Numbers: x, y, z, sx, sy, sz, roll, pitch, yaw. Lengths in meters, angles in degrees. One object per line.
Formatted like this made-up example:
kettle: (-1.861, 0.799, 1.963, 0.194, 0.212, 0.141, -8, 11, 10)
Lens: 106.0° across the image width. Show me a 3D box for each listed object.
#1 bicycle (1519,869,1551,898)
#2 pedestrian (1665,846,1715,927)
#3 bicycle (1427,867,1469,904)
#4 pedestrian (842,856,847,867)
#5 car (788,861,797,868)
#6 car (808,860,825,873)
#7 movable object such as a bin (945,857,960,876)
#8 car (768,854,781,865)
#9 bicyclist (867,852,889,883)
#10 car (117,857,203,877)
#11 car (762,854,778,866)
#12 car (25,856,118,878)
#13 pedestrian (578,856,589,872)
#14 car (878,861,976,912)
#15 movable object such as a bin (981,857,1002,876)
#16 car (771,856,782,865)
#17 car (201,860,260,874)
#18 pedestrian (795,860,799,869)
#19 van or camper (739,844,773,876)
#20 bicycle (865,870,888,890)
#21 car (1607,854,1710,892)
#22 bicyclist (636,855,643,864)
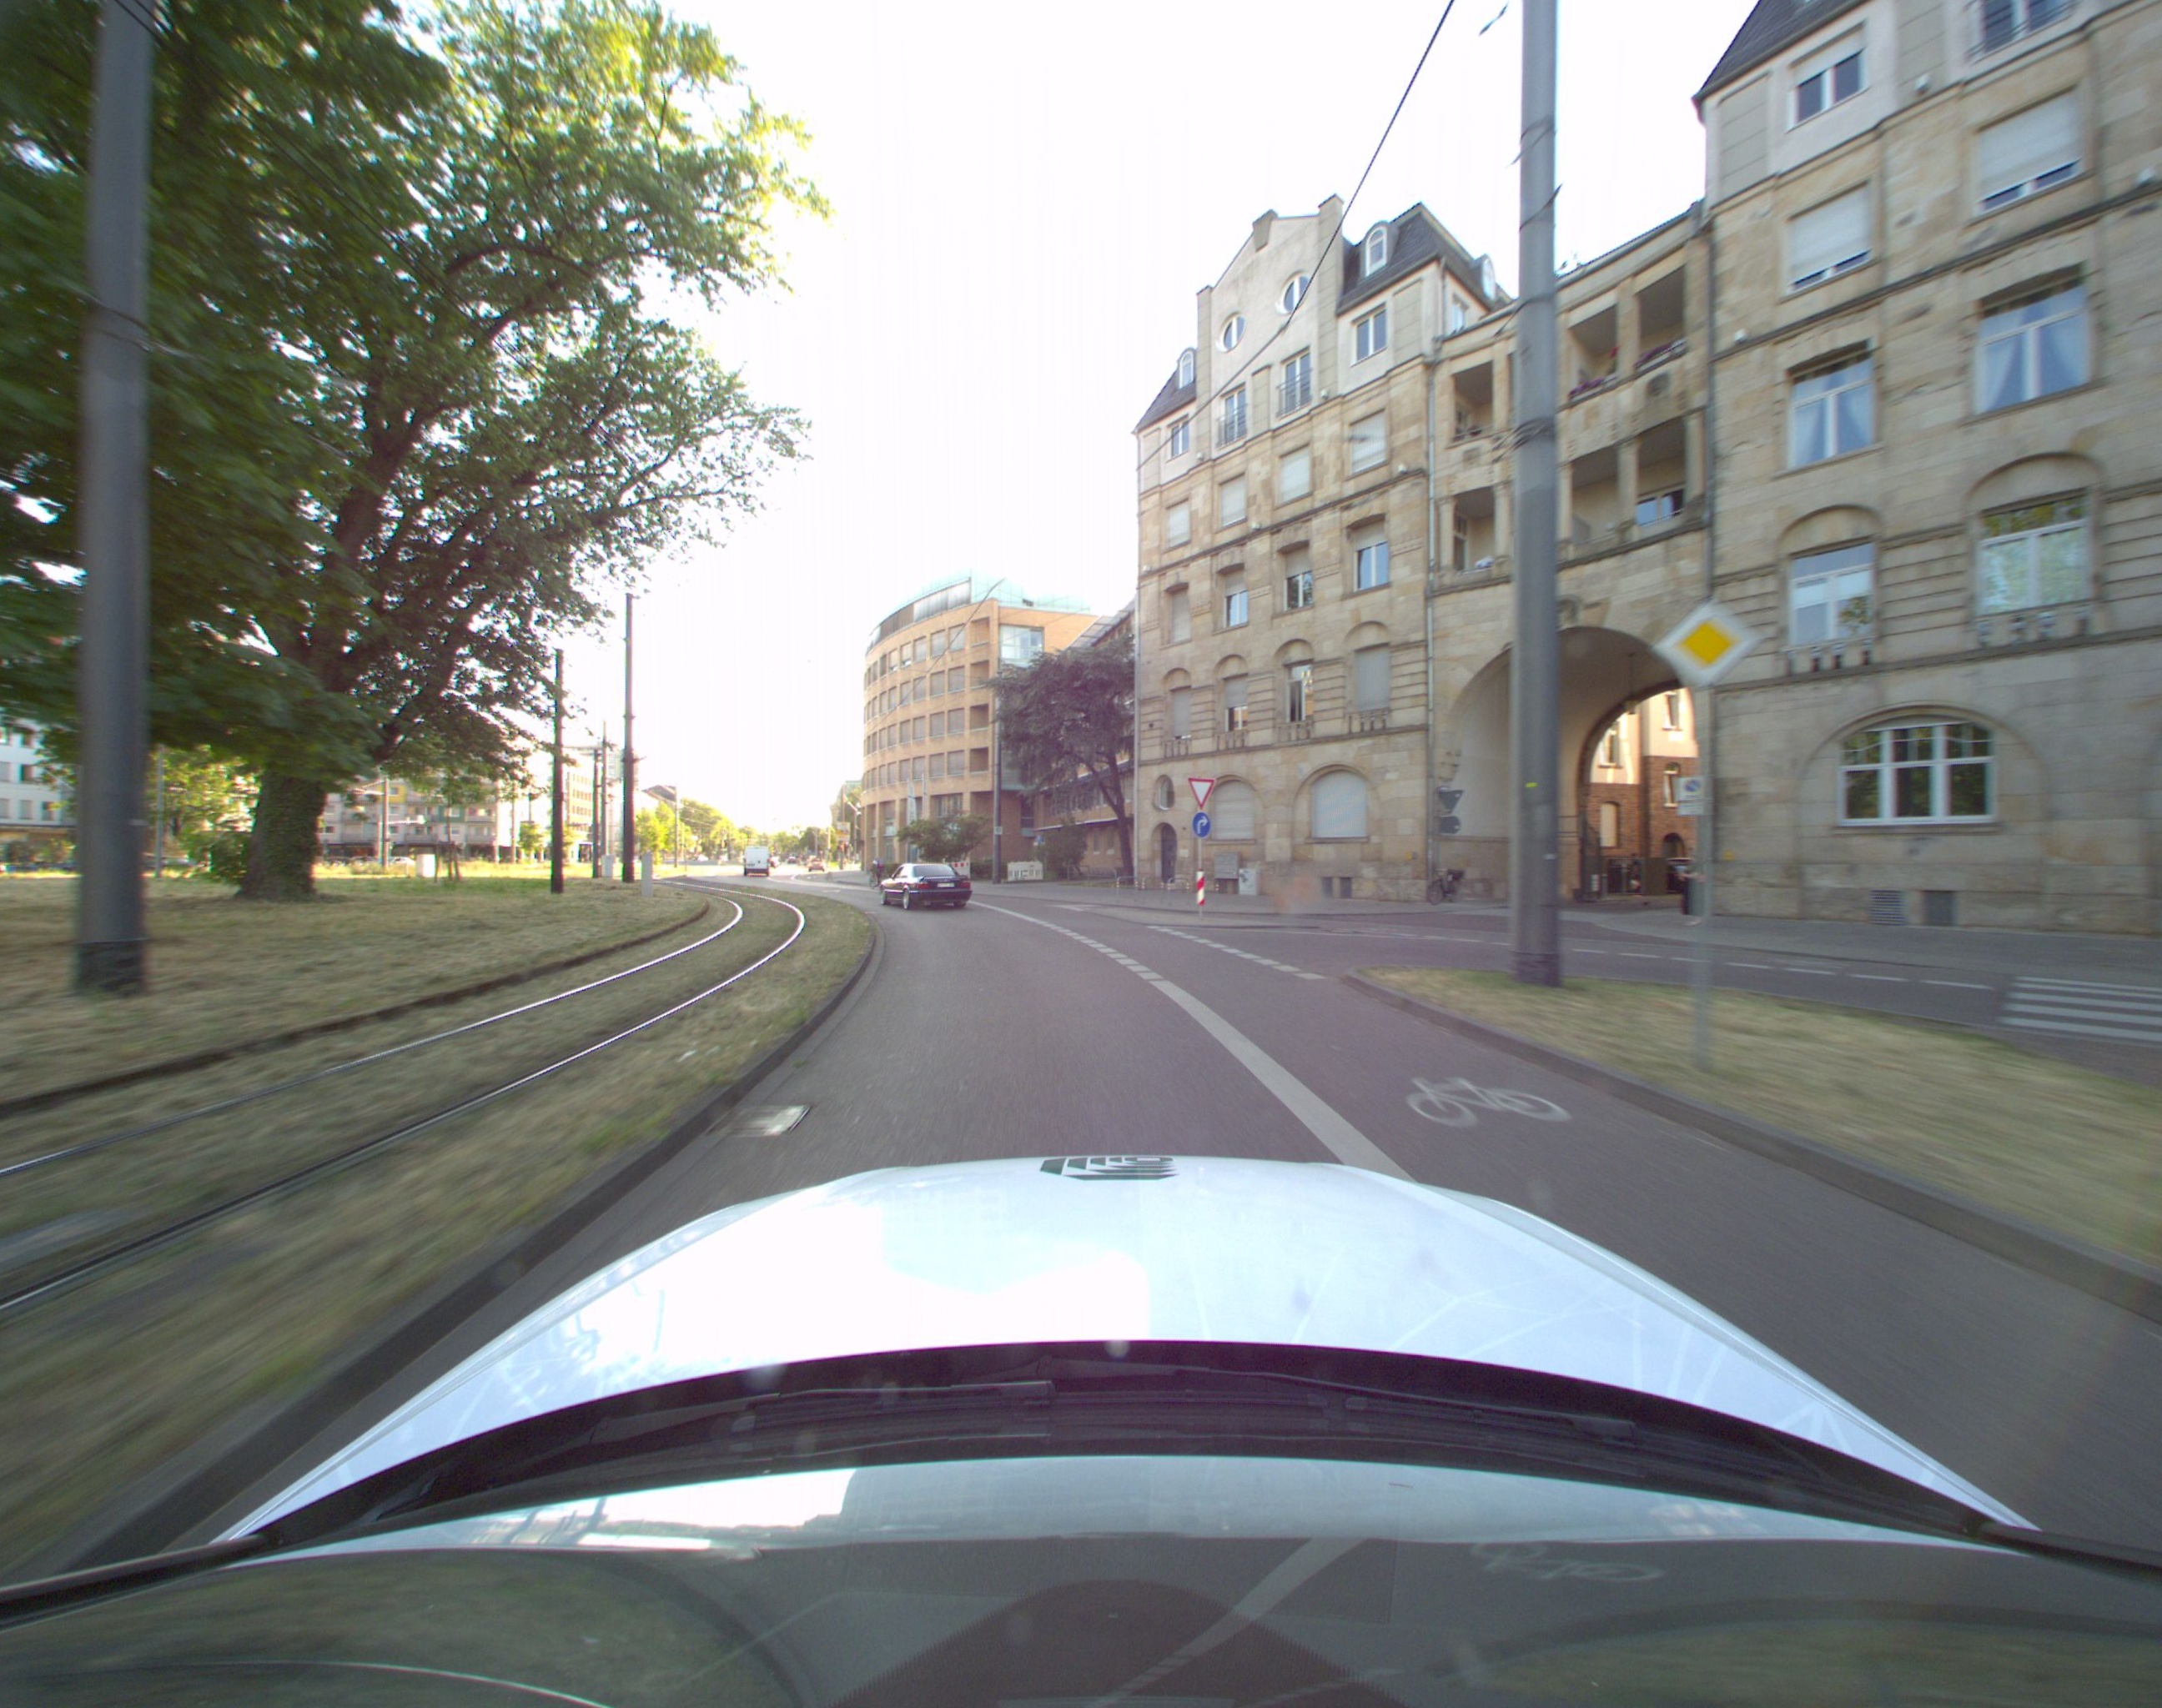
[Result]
bicycle: (16.239, 1.050, 29.122, 1.520, 0.955, 0.476, -1, 1, -41)
pedestrian: (13.190, 0.678, 17.650, 0.580, 1.709, 0.714, 0, 1, -36)
bicycle: (11.375, 0.951, 25.241, 1.866, 1.073, 0.424, -1, 1, -41)
pedestrian: (-32.590, 1.045, 112.190, 0.679, 1.569, 0.795, 0, 1, -20)
car: (-63.012, 2.280, 177.790, 1.801, 1.566, 3.972, 0, 1, -21)
car: (-30.894, 1.424, 95.066, 1.788, 1.354, 4.241, 1, 0, -18)
movable object such as a bin: (-9.929, 0.988, 62.923, 0.967, 1.437, 1.346, 0, 1, 1)
car: (-48.773, 0.893, 129.540, 1.801, 1.566, 3.972, 0, 1, -21)
bicyclist: (-9.931, 0.666, 39.774, 0.660, 1.484, 1.027, 3, -2, -35)
car: (-73.829, 1.014, 65.377, 1.745, 1.526, 4.299, 0, 1, 5)
car: (-40.477, 0.781, 106.078, 1.741, 1.385, 3.978, 0, 1, -17)
car: (-74.732, 0.953, 60.391, 1.745, 1.526, 4.006, 0, 1, 5)
pedestrian: (-53.577, 1.049, 87.699, 0.716, 1.762, 0.651, 0, 1, 4)
car: (-4.986, 0.973, 25.816, 1.840, 1.354, 4.601, -3, 0, -26)
movable object such as a bin: (-6.960, 0.962, 63.268, 1.347, 1.424, 0.916, 0, 1, -25)
car: (-59.355, 1.245, 158.714, 1.801, 1.566, 3.972, 0, 1, -21)
car: (-99.575, 1.505, 95.425, 4.298, 1.585, 1.974, 0, 1, -23)
pedestrian: (-48.049, 1.751, 137.752, 0.617, 1.475, 0.796, 0, 1, -13)
van or camper: (-27.818, 0.495, 69.834, 2.268, 2.625, 4.478, 0, 1, -17)
bicycle: (-10.053, 1.268, 39.939, 0.518, 0.954, 1.757, 2, -1, -34)
car: (26.462, 0.807, 37.444, 1.624, 1.595, 3.665, 0, 1, -18)
bicyclist: (-73.596, 0.944, 135.725, 0.655, 1.442, 0.861, 2, 0, 39)
